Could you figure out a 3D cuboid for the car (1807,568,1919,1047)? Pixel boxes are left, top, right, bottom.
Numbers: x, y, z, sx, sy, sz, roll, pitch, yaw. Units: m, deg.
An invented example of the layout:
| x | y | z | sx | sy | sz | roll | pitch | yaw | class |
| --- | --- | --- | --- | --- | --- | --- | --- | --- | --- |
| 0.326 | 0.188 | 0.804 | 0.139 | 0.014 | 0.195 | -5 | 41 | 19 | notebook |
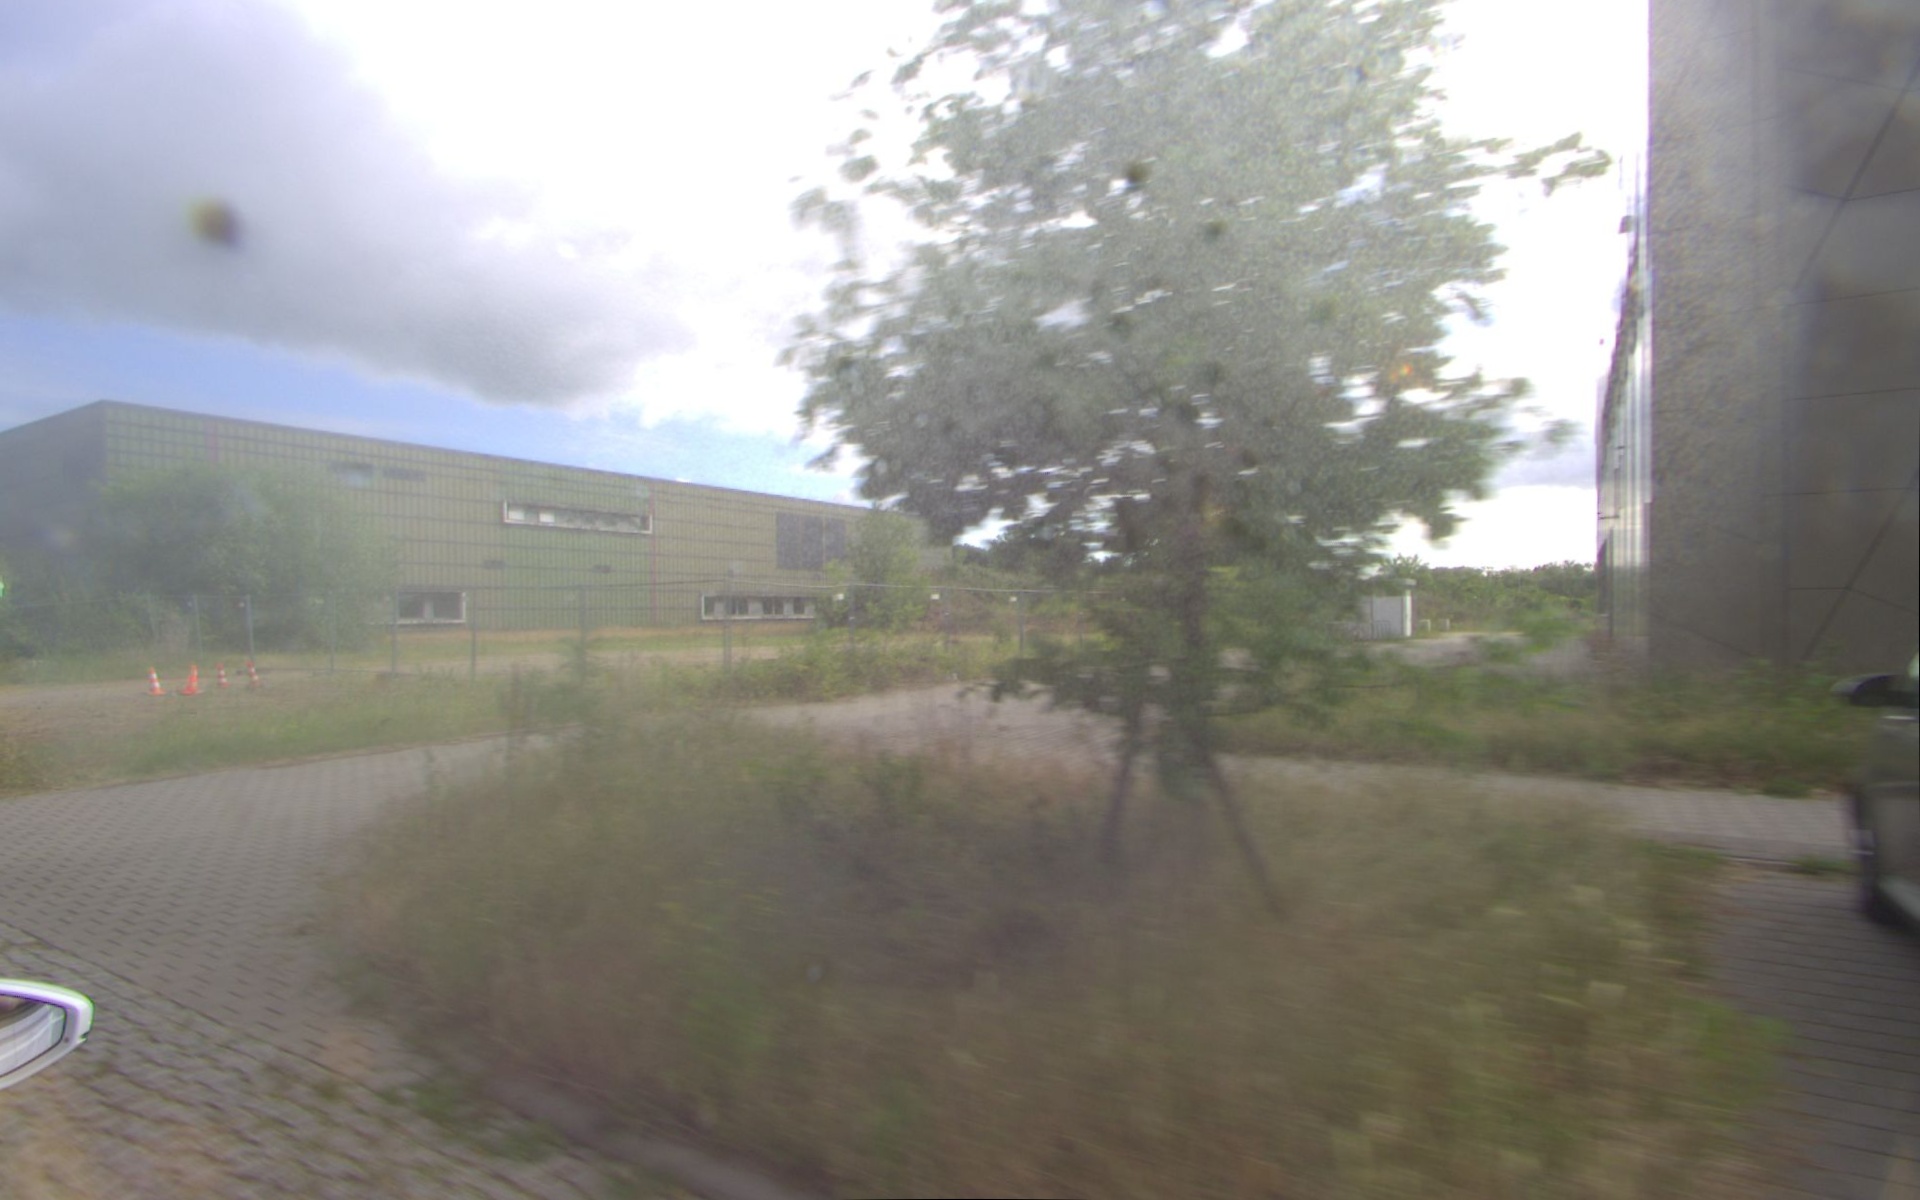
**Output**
| x | y | z | sx | sy | sz | roll | pitch | yaw | class |
| --- | --- | --- | --- | --- | --- | --- | --- | --- | --- |
| 4.213 | 0.686 | 3.381 | 1.658 | 1.603 | 2.735 | -1 | 2 | 32 | car |
